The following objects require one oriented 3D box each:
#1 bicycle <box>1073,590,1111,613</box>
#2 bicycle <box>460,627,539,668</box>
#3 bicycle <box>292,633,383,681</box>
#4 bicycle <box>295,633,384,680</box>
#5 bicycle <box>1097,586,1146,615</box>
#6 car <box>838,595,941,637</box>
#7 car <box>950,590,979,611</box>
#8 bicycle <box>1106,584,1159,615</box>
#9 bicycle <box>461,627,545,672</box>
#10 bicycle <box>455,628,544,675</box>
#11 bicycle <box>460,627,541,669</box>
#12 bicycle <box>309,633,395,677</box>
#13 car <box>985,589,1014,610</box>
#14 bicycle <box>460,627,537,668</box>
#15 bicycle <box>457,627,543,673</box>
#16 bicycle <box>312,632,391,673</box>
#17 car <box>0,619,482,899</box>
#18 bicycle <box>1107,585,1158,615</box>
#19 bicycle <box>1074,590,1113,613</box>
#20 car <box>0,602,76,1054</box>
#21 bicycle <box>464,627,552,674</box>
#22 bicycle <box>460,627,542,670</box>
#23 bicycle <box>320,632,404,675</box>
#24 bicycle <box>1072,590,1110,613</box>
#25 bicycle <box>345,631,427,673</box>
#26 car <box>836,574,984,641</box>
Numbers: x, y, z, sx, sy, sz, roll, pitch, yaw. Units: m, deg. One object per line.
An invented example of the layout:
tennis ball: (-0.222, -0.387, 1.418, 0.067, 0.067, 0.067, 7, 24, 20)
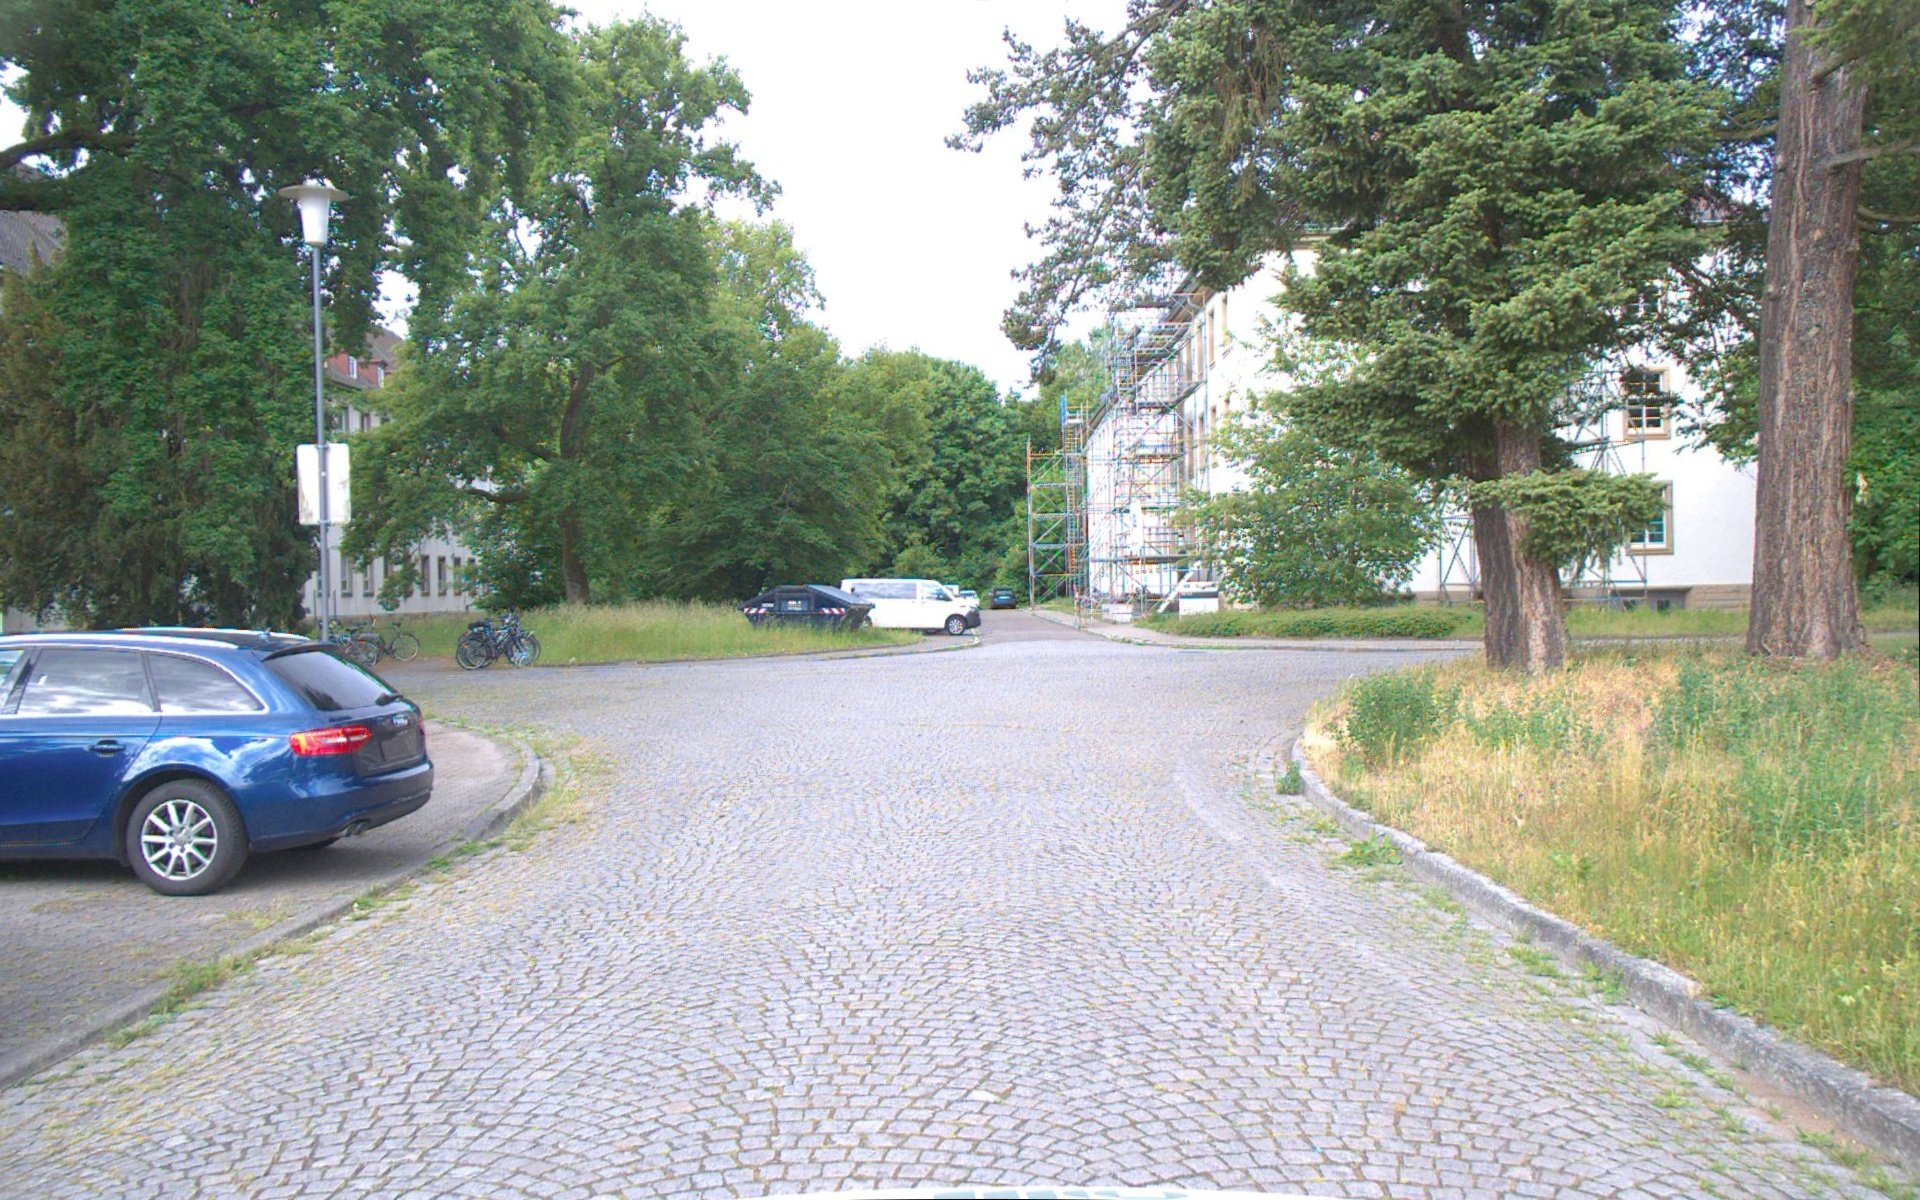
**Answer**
bicycle: (7.738, 0.075, 96.969, 2.194, 1.276, 0.698, -2, 0, 2)
bicycle: (-12.269, 1.262, 44.081, 1.931, 1.007, 0.622, -2, 0, -23)
bicycle: (-14.605, 1.329, 38.801, 1.934, 1.007, 0.621, -2, 0, -27)
bicycle: (-14.734, 1.335, 39.290, 1.931, 1.007, 0.622, -2, 0, -23)
bicycle: (7.444, 0.009, 76.259, 2.194, 1.276, 0.778, -2, 0, 2)
car: (-2.615, 0.574, 61.568, 3.713, 1.419, 1.999, -2, 0, -3)
car: (0.348, 0.041, 124.990, 2.076, 1.548, 3.999, -2, 0, -1)
bicycle: (7.508, -0.009, 72.002, 2.194, 1.276, 0.778, -2, 0, 2)
bicycle: (-11.261, 1.214, 40.777, 1.931, 1.007, 0.622, -2, 0, -23)
bicycle: (-10.736, 1.186, 38.559, 1.929, 1.007, 0.623, -2, 0, -21)
bicycle: (-11.933, 1.246, 42.957, 1.931, 1.007, 0.622, -2, 0, -23)
bicycle: (-15.066, 1.354, 40.996, 1.934, 1.007, 0.621, -2, 0, -27)
car: (2.969, -0.054, 125.304, 1.912, 1.548, 3.999, -2, 0, -2)
bicycle: (-12.465, 1.271, 44.649, 1.931, 1.007, 0.622, -2, 0, -23)
bicycle: (-11.162, 1.208, 40.152, 1.931, 1.007, 0.622, -2, 0, -23)
bicycle: (-16.462, 1.418, 44.770, 1.927, 1.007, 0.624, -2, 0, -17)
car: (-5.345, 0.904, 10.136, 4.214, 1.486, 1.975, -1, 0, 1)
bicycle: (7.710, -0.009, 73.916, 2.194, 1.276, 0.778, -2, 0, 2)
bicycle: (7.724, 0.072, 95.691, 2.194, 1.276, 0.627, -2, 0, 2)
car: (-5.493, 0.843, 5.412, 4.142, 1.604, 1.887, -1, 0, -2)
bicycle: (-10.712, 1.188, 39.183, 1.931, 1.007, 0.622, -2, 0, -23)
bicycle: (-11.756, 1.237, 42.376, 1.931, 1.007, 0.622, -2, 0, -23)
bicycle: (-15.297, 1.368, 42.343, 1.922, 1.007, 0.625, -2, 0, -11)
bicycle: (7.742, 0.078, 97.814, 2.194, 1.276, 0.634, -2, 0, 2)
bicycle: (-15.022, 1.361, 43.353, 1.922, 1.007, 0.625, -2, 0, -11)
car: (-1.772, 0.243, 58.981, 5.130, 2.206, 1.999, -2, 0, -3)
